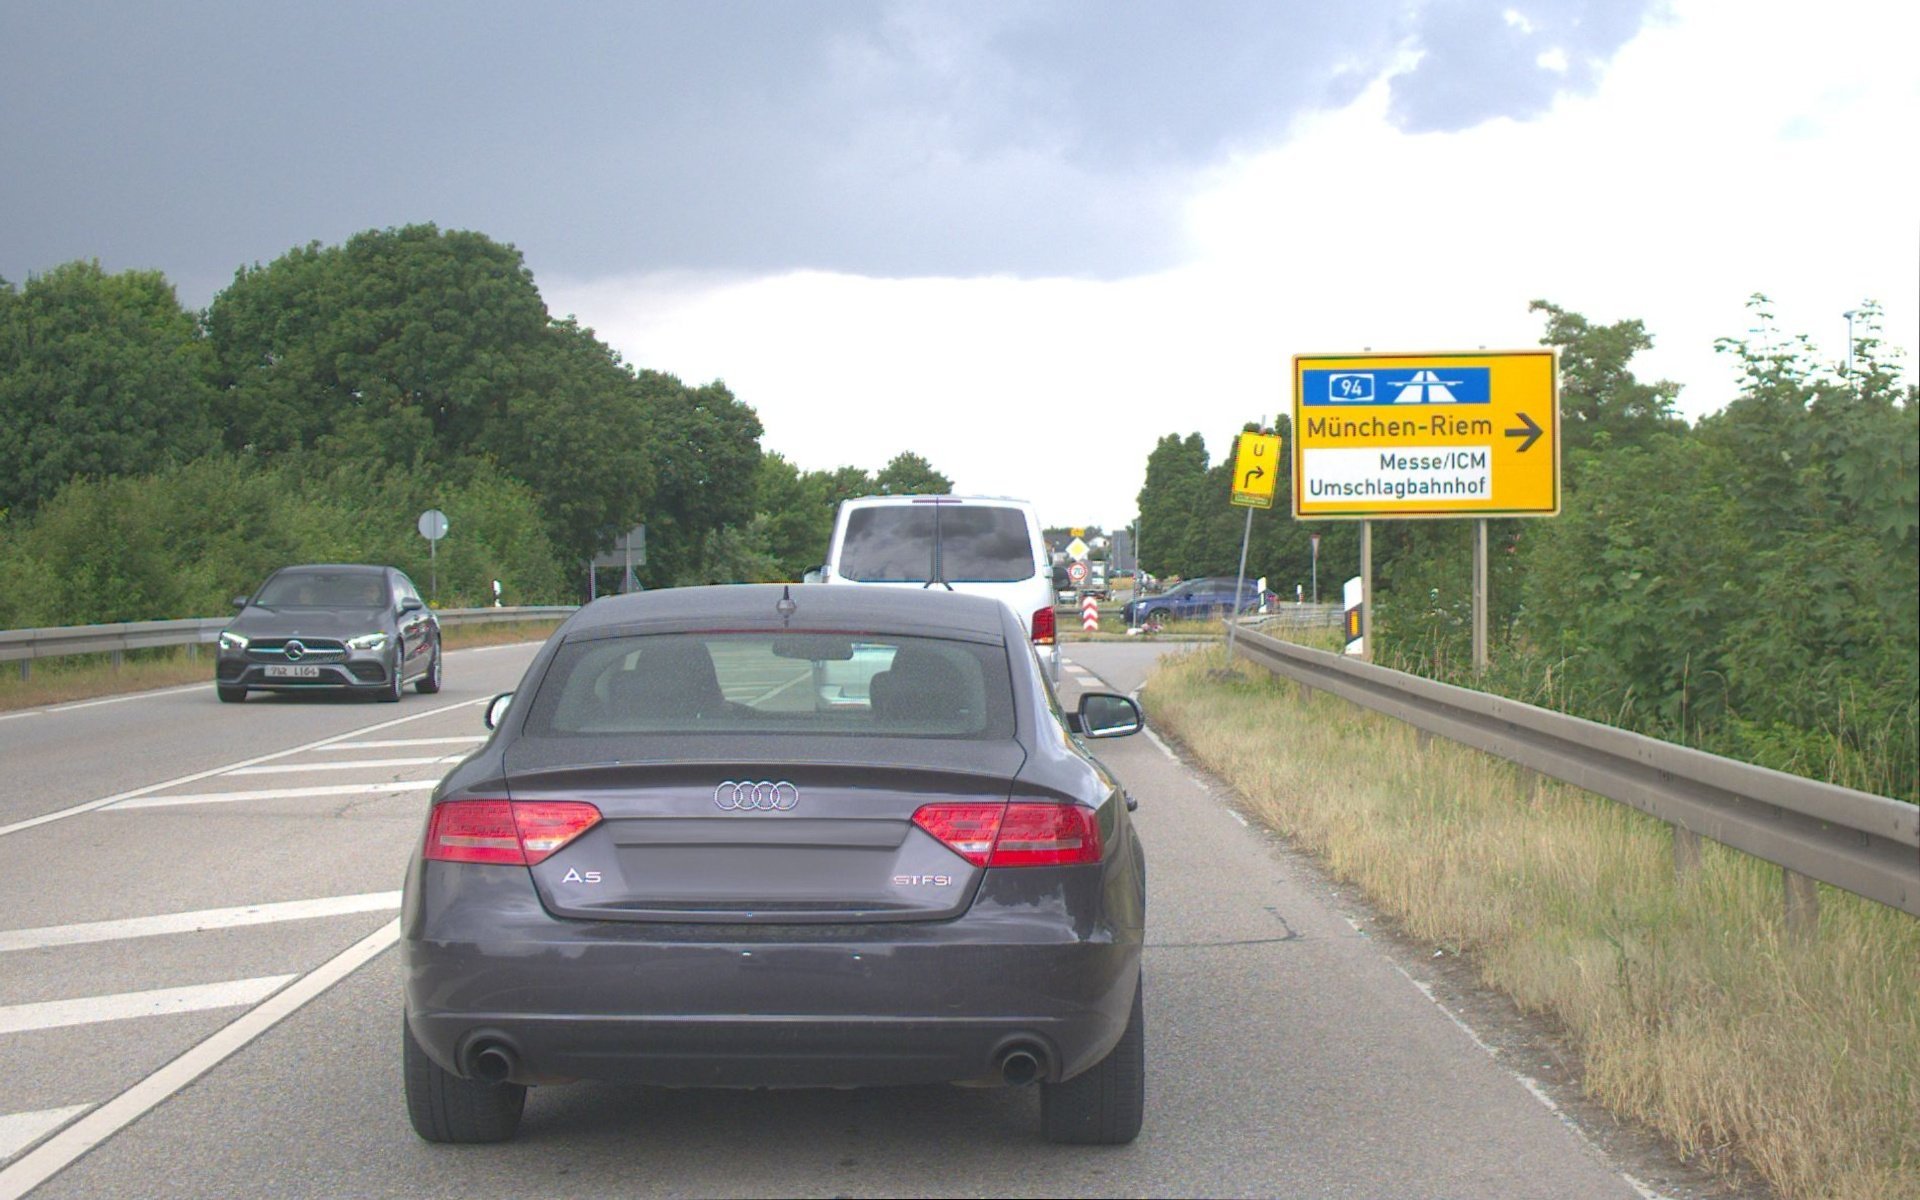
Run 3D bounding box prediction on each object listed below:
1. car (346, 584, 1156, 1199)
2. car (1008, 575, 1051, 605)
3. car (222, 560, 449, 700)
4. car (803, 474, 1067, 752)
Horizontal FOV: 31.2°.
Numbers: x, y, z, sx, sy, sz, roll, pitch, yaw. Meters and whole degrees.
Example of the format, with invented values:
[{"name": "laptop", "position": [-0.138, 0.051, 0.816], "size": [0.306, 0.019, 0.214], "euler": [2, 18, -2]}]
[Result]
[{"name": "car", "position": [-0.479, 0.662, 9.236], "size": [1.779, 1.394, 3.336], "euler": [0, 0, -1]}, {"name": "car", "position": [3.818, -0.548, 188.779], "size": [2.205, 1.577, 4.379], "euler": [1, 1, 0]}, {"name": "car", "position": [-6.578, 0.275, 36.638], "size": [1.622, 1.375, 4.512], "euler": [0, 1, 0]}, {"name": "car", "position": [-0.199, 0.065, 27.153], "size": [1.910, 2.007, 4.000], "euler": [1, 1, 0]}]
